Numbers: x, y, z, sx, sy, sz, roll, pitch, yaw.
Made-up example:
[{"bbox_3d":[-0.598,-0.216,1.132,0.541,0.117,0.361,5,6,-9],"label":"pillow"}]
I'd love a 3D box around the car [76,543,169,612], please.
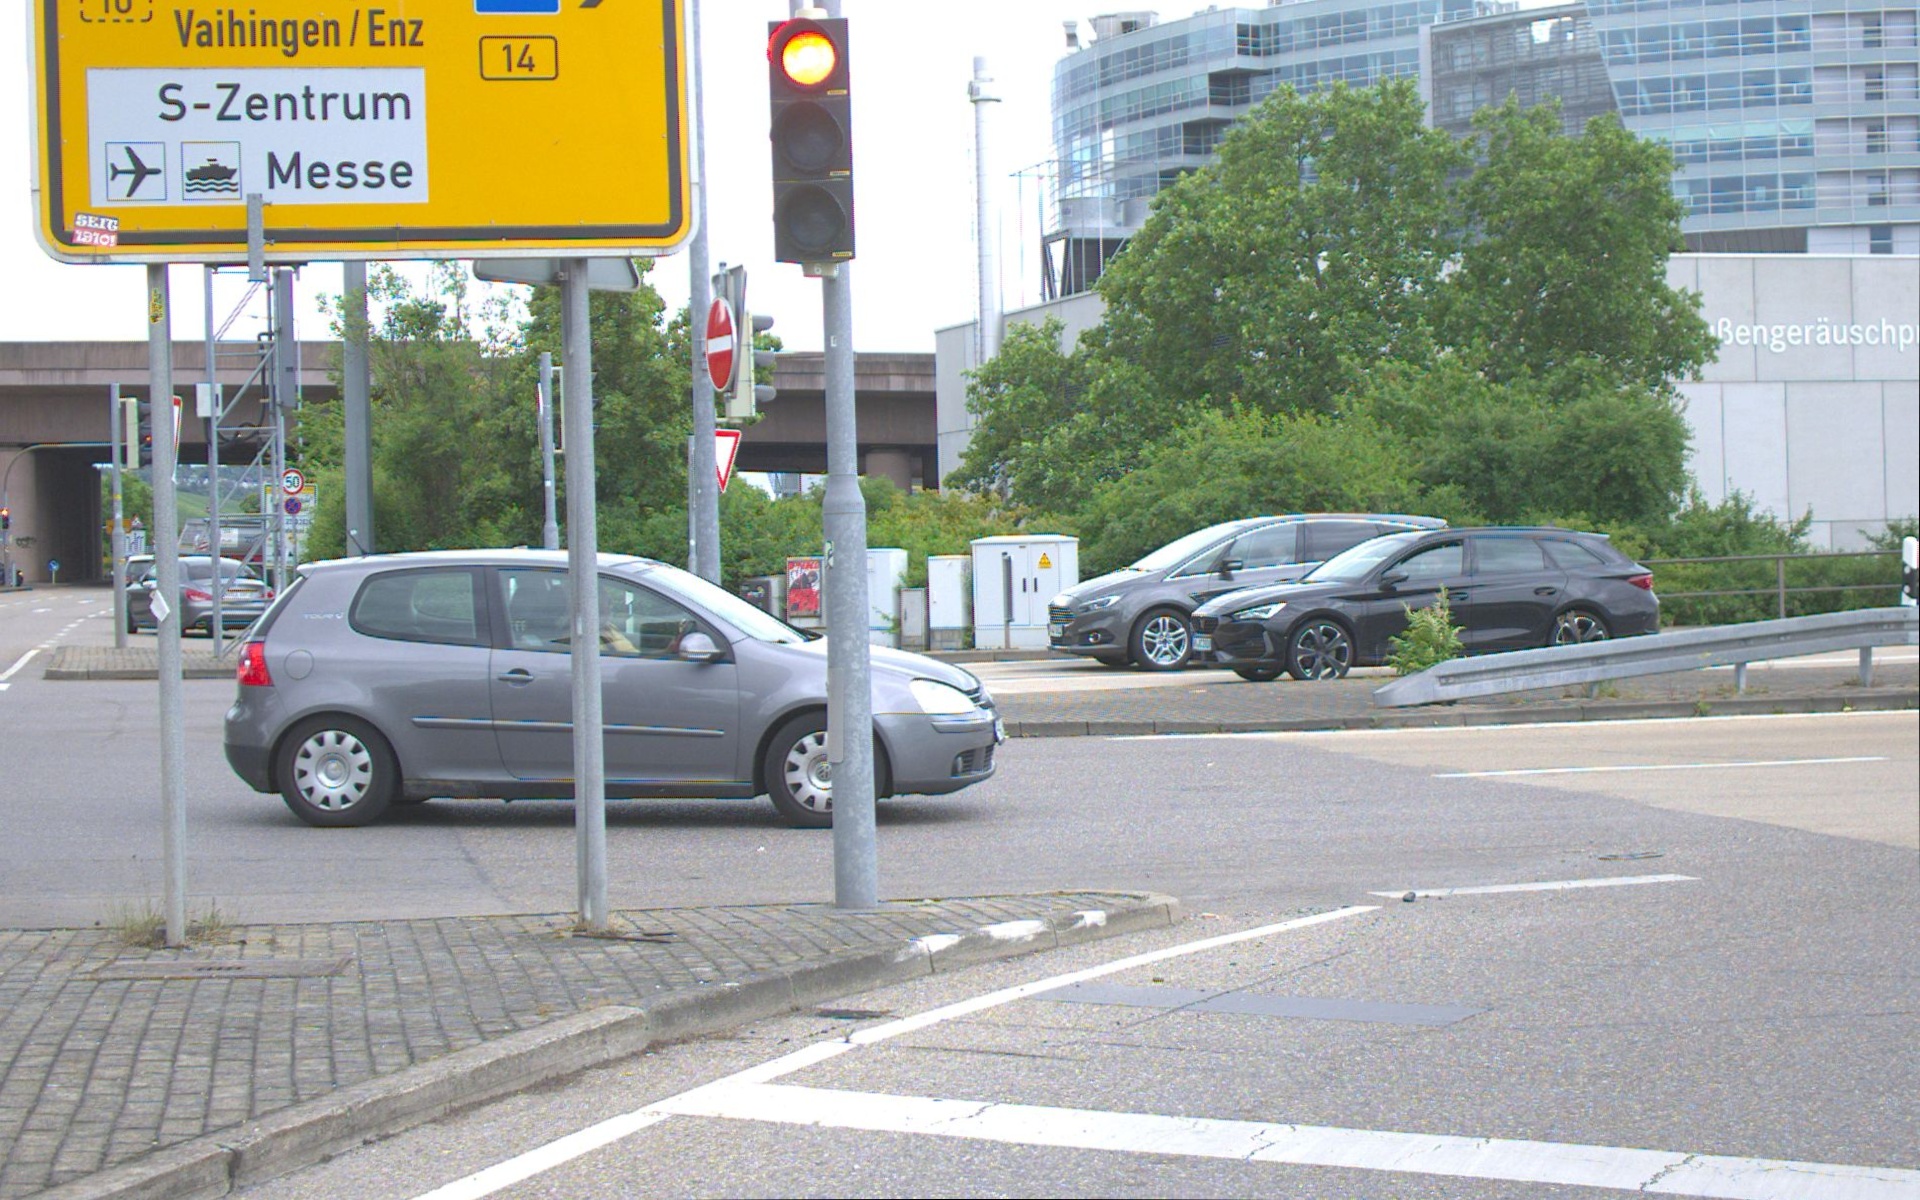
[{"bbox_3d":[-19.043,-0.492,78.056,1.993,1.459,4.111,1,-1,-14],"label":"car"}]

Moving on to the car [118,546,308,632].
[{"bbox_3d":[-13.203,-0.165,60.610,1.993,1.437,4.110,1,-1,-32],"label":"car"}]

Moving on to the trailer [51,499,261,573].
[{"bbox_3d":[-34.600,-2.737,148.144,8.539,2.615,2.611,3,0,-10],"label":"trailer"}]

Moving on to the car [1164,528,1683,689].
[{"bbox_3d":[4.484,0.048,33.480,4.604,1.452,1.956,0,2,-15],"label":"car"}]

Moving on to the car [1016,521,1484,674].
[{"bbox_3d":[3.117,-0.062,37.336,4.677,1.566,1.956,0,2,-14],"label":"car"}]

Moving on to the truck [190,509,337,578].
[{"bbox_3d":[-30.245,-2.474,149.334,5.759,2.615,2.622,3,0,-21],"label":"truck"}]

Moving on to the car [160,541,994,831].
[{"bbox_3d":[-1.984,0.430,18.598,4.231,1.456,1.730,0,2,4],"label":"car"}]
